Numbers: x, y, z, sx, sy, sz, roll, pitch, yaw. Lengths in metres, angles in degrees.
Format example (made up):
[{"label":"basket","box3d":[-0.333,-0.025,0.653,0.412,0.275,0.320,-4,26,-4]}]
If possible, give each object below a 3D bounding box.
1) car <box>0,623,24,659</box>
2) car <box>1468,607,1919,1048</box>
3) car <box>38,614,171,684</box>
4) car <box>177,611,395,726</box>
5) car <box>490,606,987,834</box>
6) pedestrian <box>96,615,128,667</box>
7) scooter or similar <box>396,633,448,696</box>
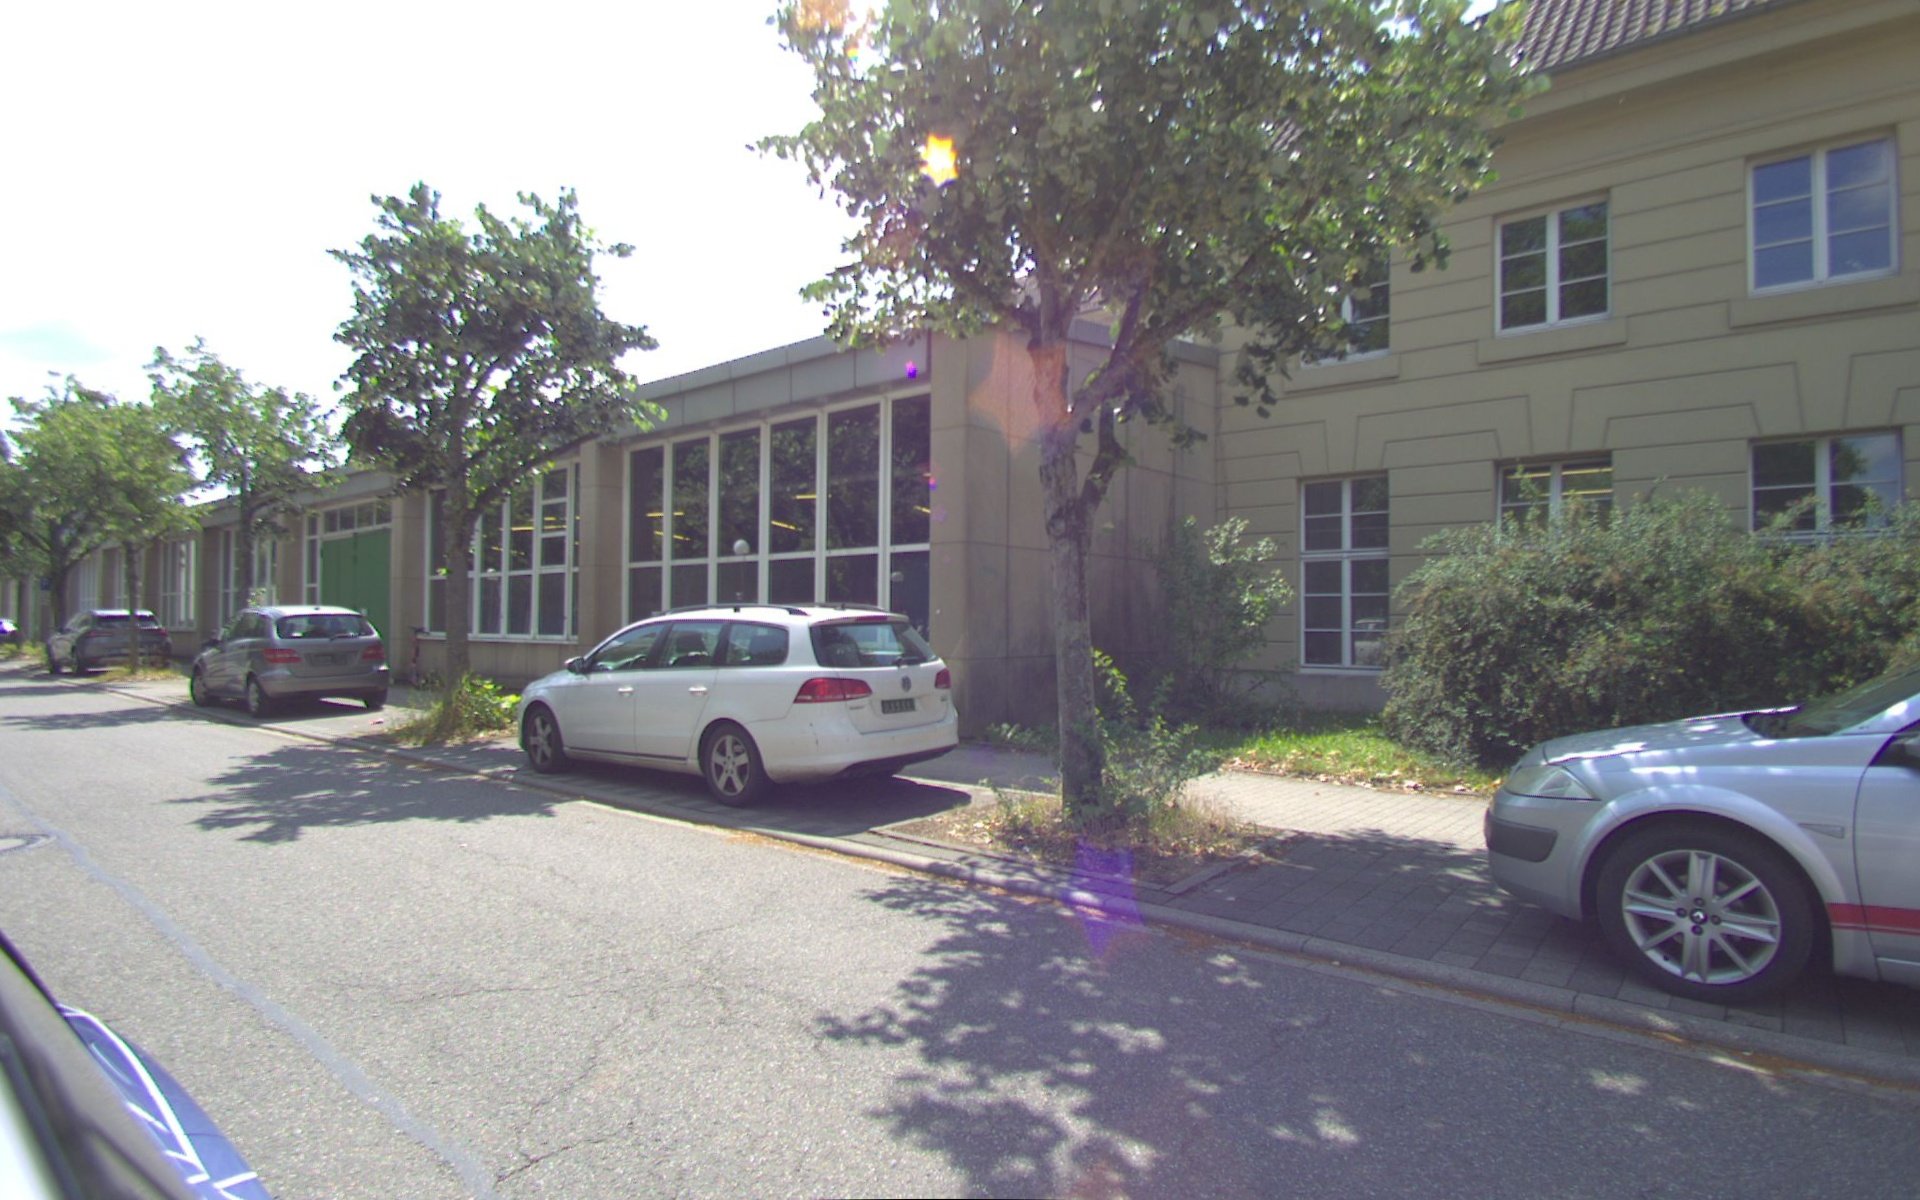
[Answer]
[{"label":"car","box3d":[-40.203,1.719,41.805,4.286,1.446,1.708,-2,-1,40]},{"label":"car","box3d":[4.147,0.704,3.282,4.164,1.354,1.707,-1,0,42]},{"label":"car","box3d":[-22.371,1.211,26.409,4.511,1.644,1.804,-1,0,38]},{"label":"car","box3d":[-10.788,0.981,16.090,4.109,1.568,1.740,-1,0,39]},{"label":"car","box3d":[-2.102,0.817,8.745,4.578,1.467,1.708,-1,0,39]},{"label":"pedestrian","box3d":[-29.988,1.443,35.799,0.670,1.801,0.779,-3,-2,43]},{"label":"scooter or similar","box3d":[-10.566,1.248,19.869,1.215,1.178,0.500,-1,-1,41]}]
